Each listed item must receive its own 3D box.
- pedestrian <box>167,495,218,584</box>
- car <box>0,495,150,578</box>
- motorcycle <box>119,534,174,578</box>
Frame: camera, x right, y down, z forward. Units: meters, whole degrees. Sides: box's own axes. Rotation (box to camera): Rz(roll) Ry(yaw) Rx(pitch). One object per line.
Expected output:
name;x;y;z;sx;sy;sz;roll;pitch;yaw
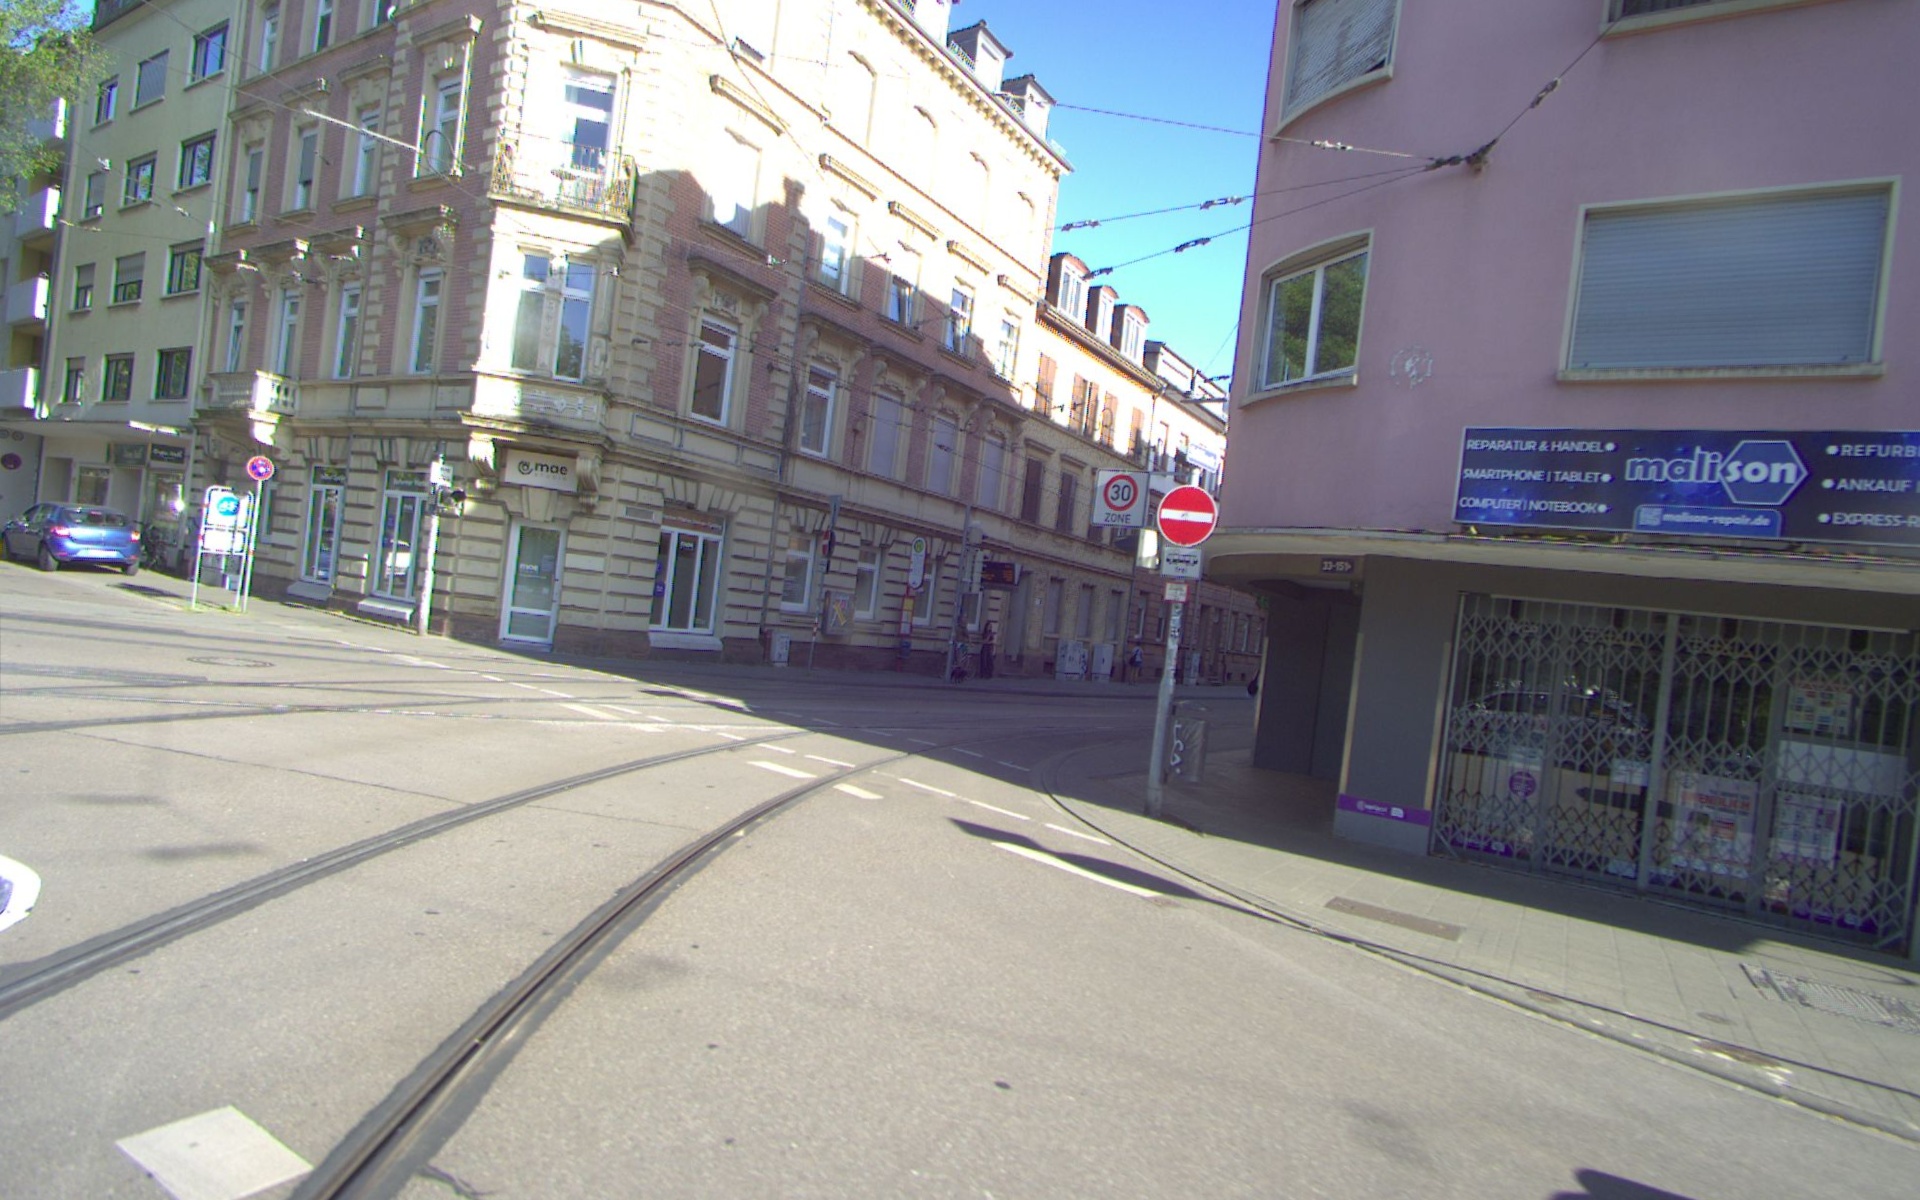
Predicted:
pedestrian;-18.540;-1.460;24.293;0.839;2.036;0.512;7;-2;36
car;-21.000;-1.515;23.635;3.932;1.499;1.695;8;1;30
motorcycle;-20.361;-1.115;25.169;1.842;0.907;0.486;7;2;32
